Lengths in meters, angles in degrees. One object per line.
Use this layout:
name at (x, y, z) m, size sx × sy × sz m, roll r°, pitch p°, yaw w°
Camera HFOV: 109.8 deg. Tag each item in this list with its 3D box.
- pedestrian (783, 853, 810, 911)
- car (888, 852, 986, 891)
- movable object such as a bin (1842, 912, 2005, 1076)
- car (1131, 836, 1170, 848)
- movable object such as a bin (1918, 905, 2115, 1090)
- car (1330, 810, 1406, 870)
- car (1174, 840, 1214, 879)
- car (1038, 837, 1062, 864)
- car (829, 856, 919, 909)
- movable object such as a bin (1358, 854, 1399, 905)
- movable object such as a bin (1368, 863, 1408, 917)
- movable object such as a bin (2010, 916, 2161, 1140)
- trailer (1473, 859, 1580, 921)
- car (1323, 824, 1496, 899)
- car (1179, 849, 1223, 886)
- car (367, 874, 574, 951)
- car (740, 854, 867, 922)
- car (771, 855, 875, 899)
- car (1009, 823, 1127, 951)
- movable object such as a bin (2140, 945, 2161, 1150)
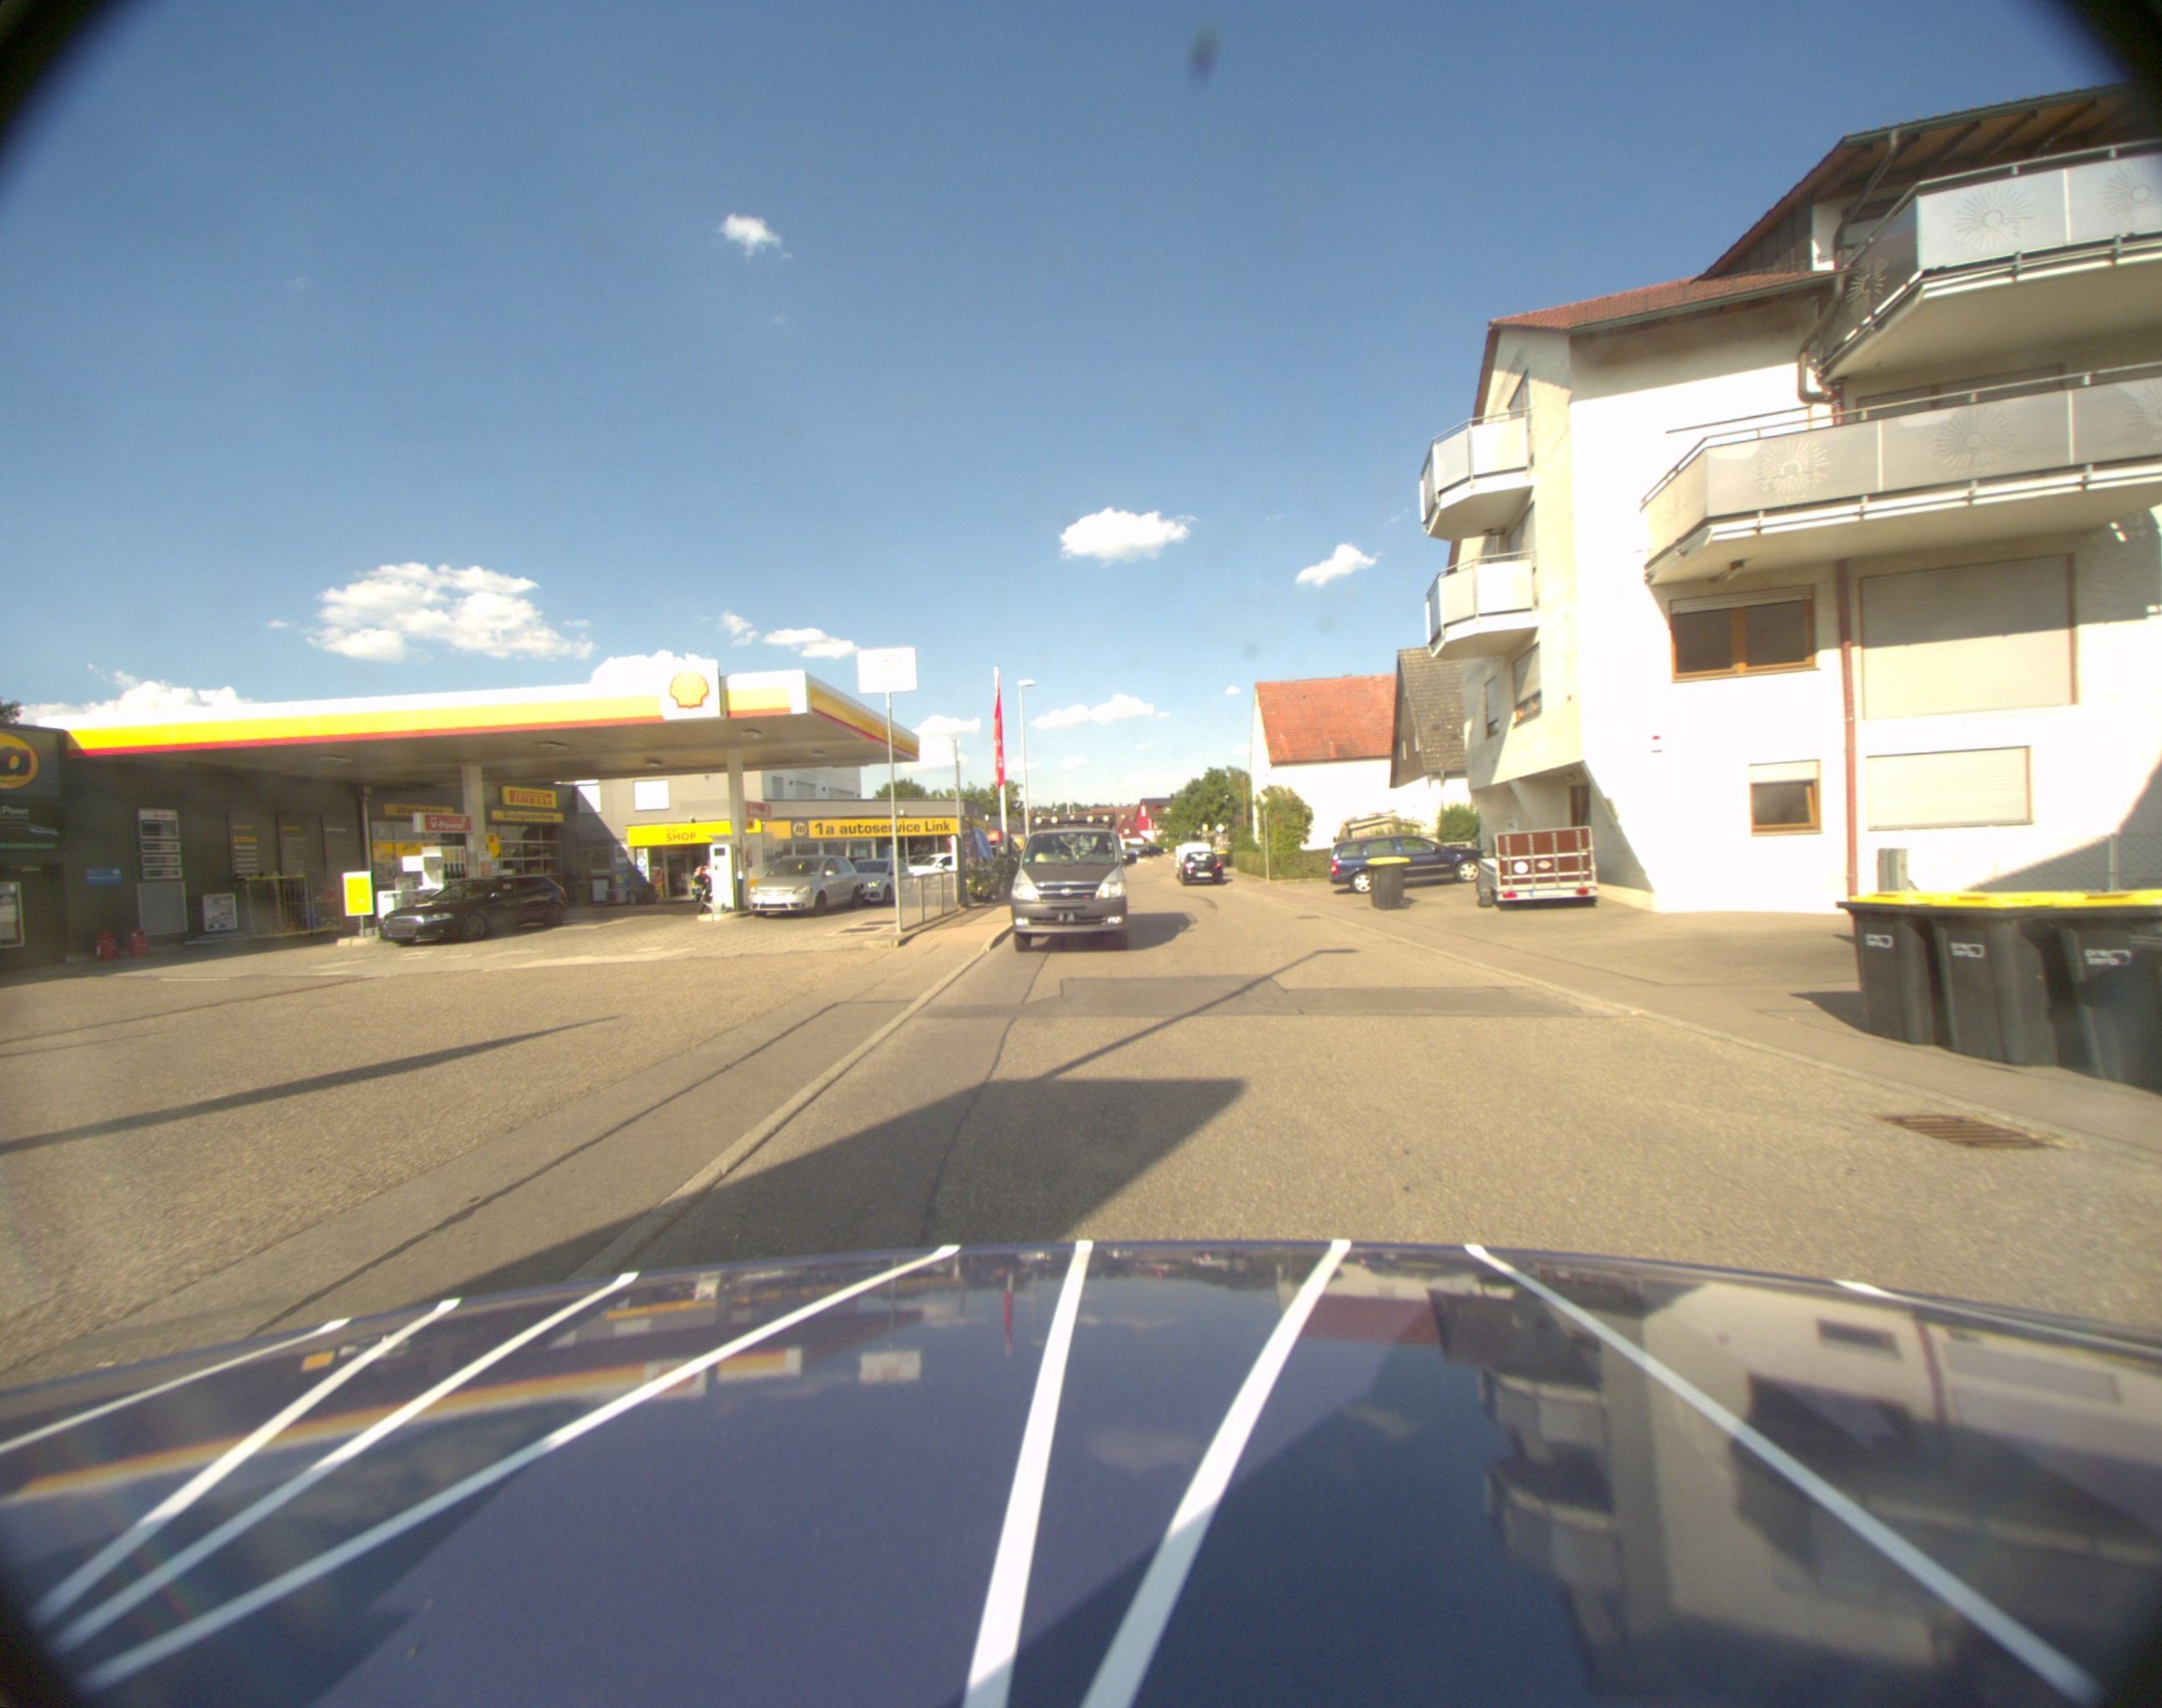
pedestrian at (-8.318, 0.814, 22.238) m, size 0.501 × 1.660 × 0.534 m, roll -2°, pitch 1°, yaw 4°
car at (-6.590, 0.756, 34.900) m, size 4.085 × 1.665 × 1.672 m, roll -1°, pitch 1°, yaw -38°
movable object such as a bin at (6.005, 0.976, 5.444) m, size 0.589 × 1.078 × 0.508 m, roll -1°, pitch 1°, yaw 3°
car at (9.197, -1.592, 100.334) m, size 4.848 × 1.423 × 1.768 m, roll -2°, pitch 2°, yaw -18°
movable object such as a bin at (5.960, 0.890, 4.871) m, size 0.589 × 1.078 × 0.530 m, roll -1°, pitch 1°, yaw 3°
car at (13.986, -0.673, 37.492) m, size 2.162 × 2.581 × 6.097 m, roll -3°, pitch 0°, yaw 9°
car at (5.673, 0.229, 38.568) m, size 1.720 × 1.862 × 4.193 m, roll -1°, pitch 1°, yaw 5°
car at (-2.810, -0.331, 69.037) m, size 1.841 × 2.361 × 5.177 m, roll -2°, pitch 1°, yaw 0°
car at (-6.870, 0.908, 25.687) m, size 1.675 × 1.568 × 3.999 m, roll -2°, pitch 0°, yaw 4°
movable object such as a bin at (6.607, 0.562, 16.879) m, size 0.601 × 1.065 × 0.619 m, roll -5°, pitch 1°, yaw 3°
movable object such as a bin at (6.551, 0.759, 16.240) m, size 0.571 × 1.065 × 0.557 m, roll -5°, pitch 1°, yaw 3°
movable object such as a bin at (5.911, 0.939, 4.283) m, size 0.589 × 1.115 × 0.617 m, roll -1°, pitch 1°, yaw 3°
trailer at (8.791, 0.673, 15.182) m, size 1.331 × 0.850 × 2.894 m, roll -4°, pitch 2°, yaw 21°
car at (8.837, 0.202, 20.795) m, size 3.993 × 1.529 × 1.764 m, roll -7°, pitch -1°, yaw 15°
car at (5.175, 0.534, 33.149) m, size 1.676 × 1.443 × 3.835 m, roll -2°, pitch 1°, yaw 6°
car at (-14.523, 1.322, 18.408) m, size 1.540 × 1.392 × 3.998 m, roll -2°, pitch 2°, yaw 4°
car at (-7.285, 0.821, 20.379) m, size 1.675 × 1.568 × 3.999 m, roll -2°, pitch 0°, yaw 4°
car at (-10.655, 0.900, 31.482) m, size 3.693 × 1.624 × 1.672 m, roll -3°, pitch 2°, yaw -38°
car at (-0.092, 0.490, 14.449) m, size 1.819 × 1.989 × 4.821 m, roll -1°, pitch 1°, yaw 3°
movable object such as a bin at (5.656, 0.970, 3.628) m, size 0.532 × 1.016 × 0.457 m, roll -1°, pitch 1°, yaw 3°
